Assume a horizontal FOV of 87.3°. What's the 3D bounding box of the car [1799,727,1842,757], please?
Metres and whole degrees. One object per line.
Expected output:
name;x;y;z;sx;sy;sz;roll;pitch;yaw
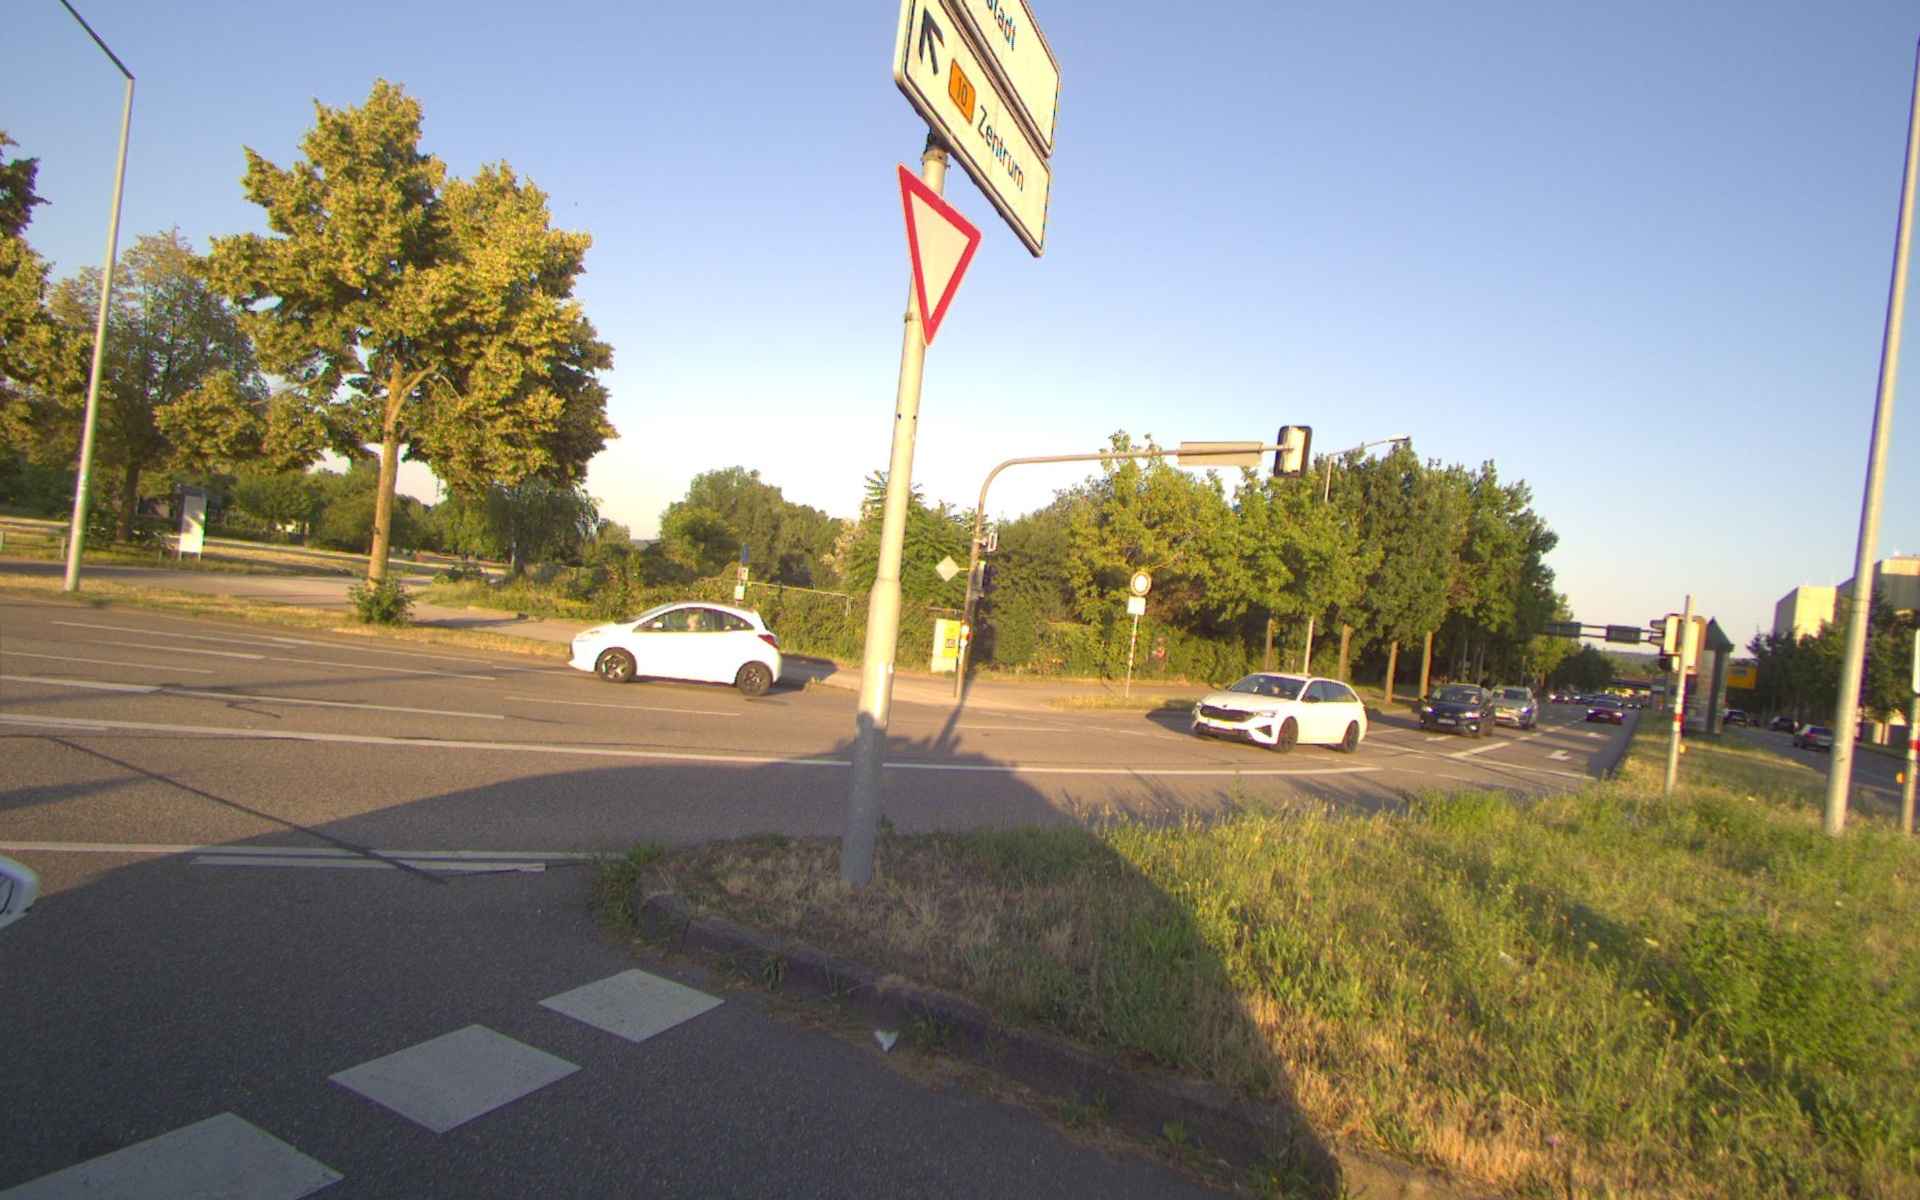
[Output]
car;50.577;8.308;59.080;1.727;1.441;4.115;7;0;42

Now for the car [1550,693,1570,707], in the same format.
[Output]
car;65.539;10.947;109.890;1.594;1.324;3.707;5;-2;35

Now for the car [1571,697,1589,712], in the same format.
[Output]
car;74.831;12.602;121.441;1.594;1.536;3.707;5;-2;35

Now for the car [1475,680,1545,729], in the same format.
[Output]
car;23.656;4.512;43.194;1.893;1.775;4.908;6;-2;36

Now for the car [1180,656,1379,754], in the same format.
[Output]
car;6.280;2.059;19.478;1.705;1.466;4.524;8;0;44

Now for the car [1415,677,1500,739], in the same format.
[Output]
car;16.215;3.497;32.663;1.775;1.652;4.446;6;-2;34

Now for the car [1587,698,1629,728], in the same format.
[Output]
car;39.491;6.870;61.275;1.817;1.477;4.569;7;-1;36

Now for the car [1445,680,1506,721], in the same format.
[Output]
car;26.276;5.143;51.205;1.884;1.730;4.928;7;-1;36

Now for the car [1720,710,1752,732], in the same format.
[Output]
car;71.433;11.130;92.672;1.788;1.543;4.126;7;0;32

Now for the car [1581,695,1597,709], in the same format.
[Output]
car;84.988;13.783;135.936;1.594;1.536;3.707;5;-2;35

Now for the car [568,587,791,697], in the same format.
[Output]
car;-4.852;0.729;17.383;3.440;1.460;1.546;7;-1;-23

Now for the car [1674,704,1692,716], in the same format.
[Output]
car;112.656;17.083;156.793;1.967;1.488;3.991;7;0;33

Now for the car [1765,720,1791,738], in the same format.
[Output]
car;85.142;13.399;104.748;1.724;1.506;4.122;7;-1;36
